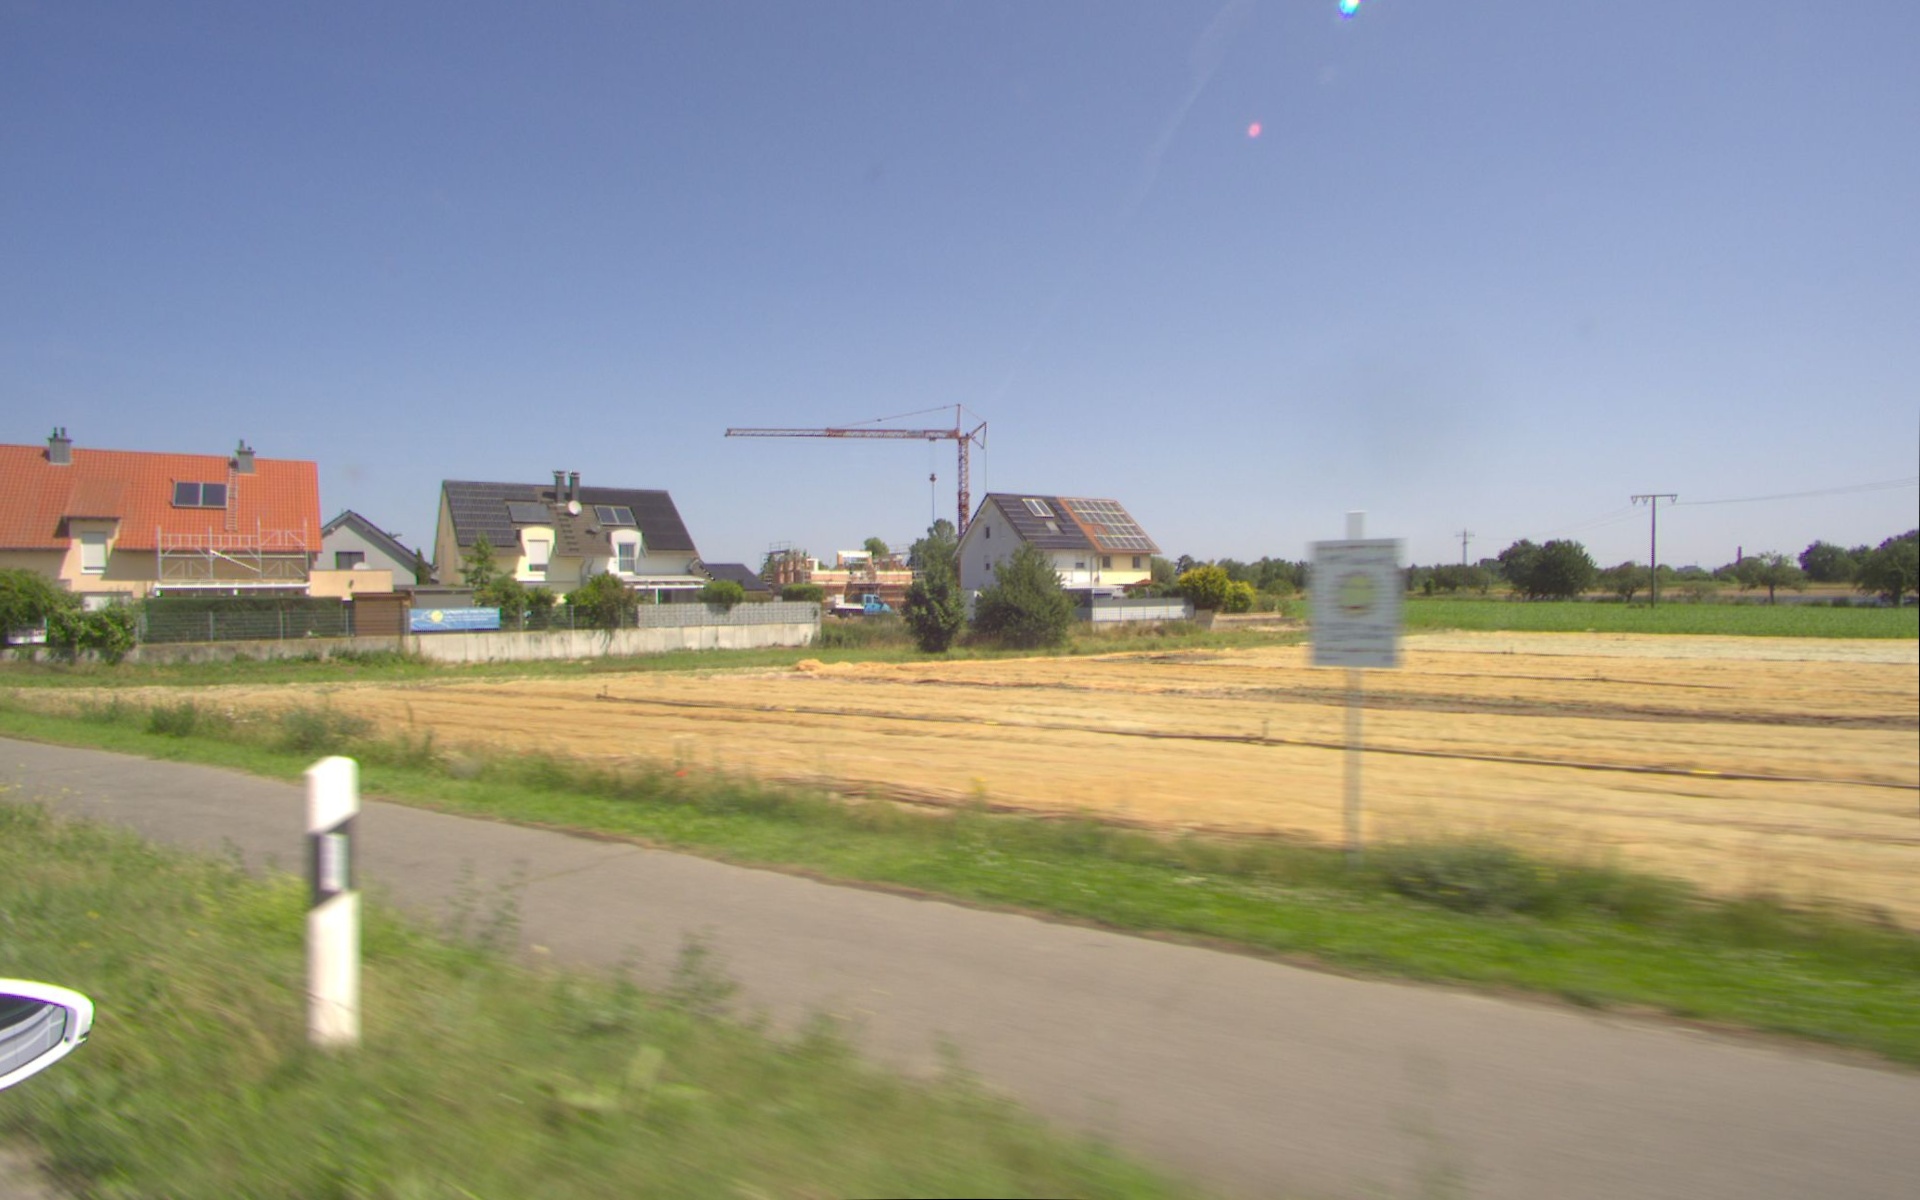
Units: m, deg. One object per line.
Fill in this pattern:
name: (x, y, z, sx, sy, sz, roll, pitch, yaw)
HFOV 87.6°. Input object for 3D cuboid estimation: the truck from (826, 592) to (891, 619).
truck: (-9.256, 0.477, 91.707, 5.497, 2.260, 2.200, -2, 1, -34)
